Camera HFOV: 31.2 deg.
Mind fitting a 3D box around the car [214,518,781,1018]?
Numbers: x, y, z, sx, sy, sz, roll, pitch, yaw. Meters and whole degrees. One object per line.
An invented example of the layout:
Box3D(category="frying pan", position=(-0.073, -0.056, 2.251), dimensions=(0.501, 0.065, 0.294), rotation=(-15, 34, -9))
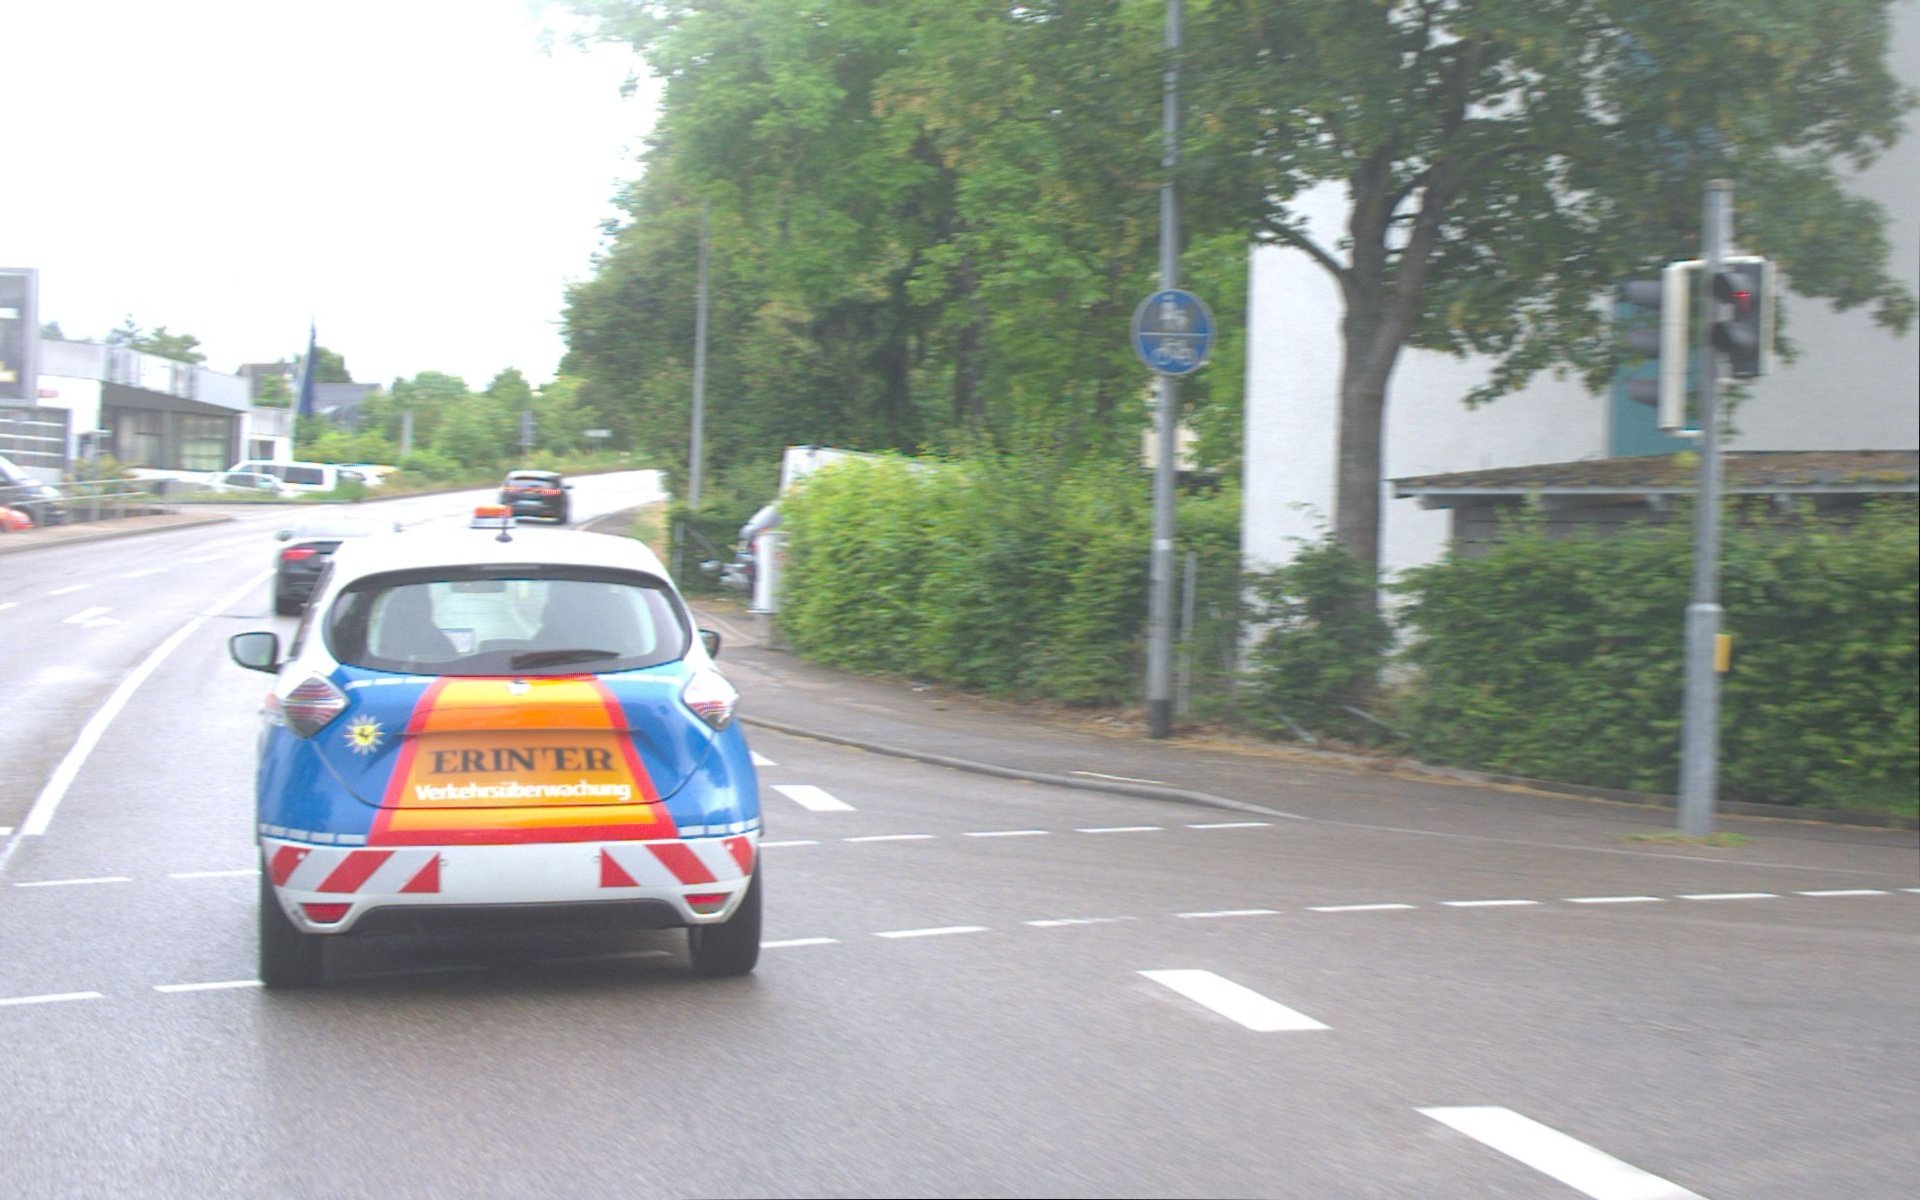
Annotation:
Box3D(category="car", position=(-1.892, 0.527, 12.975), dimensions=(1.745, 1.576, 4.001), rotation=(1, 0, -13))

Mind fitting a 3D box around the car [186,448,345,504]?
Box3D(category="car", position=(-22.828, -4.065, 113.143), dimensions=(4.757, 1.618, 1.814), rotation=(2, 1, -35))

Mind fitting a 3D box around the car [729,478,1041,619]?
Box3D(category="car", position=(-1.039, -0.697, 45.650), dimensions=(3.986, 1.717, 2.000), rotation=(2, 2, -4))

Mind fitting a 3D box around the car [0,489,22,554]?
Box3D(category="car", position=(-22.030, -1.730, 72.945), dimensions=(3.985, 1.371, 1.815), rotation=(2, 1, -18))

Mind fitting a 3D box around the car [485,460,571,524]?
Box3D(category="car", position=(-11.994, -2.993, 95.631), dimensions=(1.993, 1.678, 4.001), rotation=(1, 1, -2))

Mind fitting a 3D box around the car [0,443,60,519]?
Box3D(category="car", position=(-22.438, -2.683, 75.968), dimensions=(4.755, 1.618, 1.815), rotation=(2, 1, -9))

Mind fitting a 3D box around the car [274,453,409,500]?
Box3D(category="car", position=(-23.849, -4.751, 132.669), dimensions=(4.757, 1.618, 1.814), rotation=(2, 1, -35))

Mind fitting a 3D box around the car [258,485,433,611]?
Box3D(category="car", position=(-8.202, -0.731, 46.168), dimensions=(1.993, 1.568, 4.001), rotation=(1, 2, -6))
